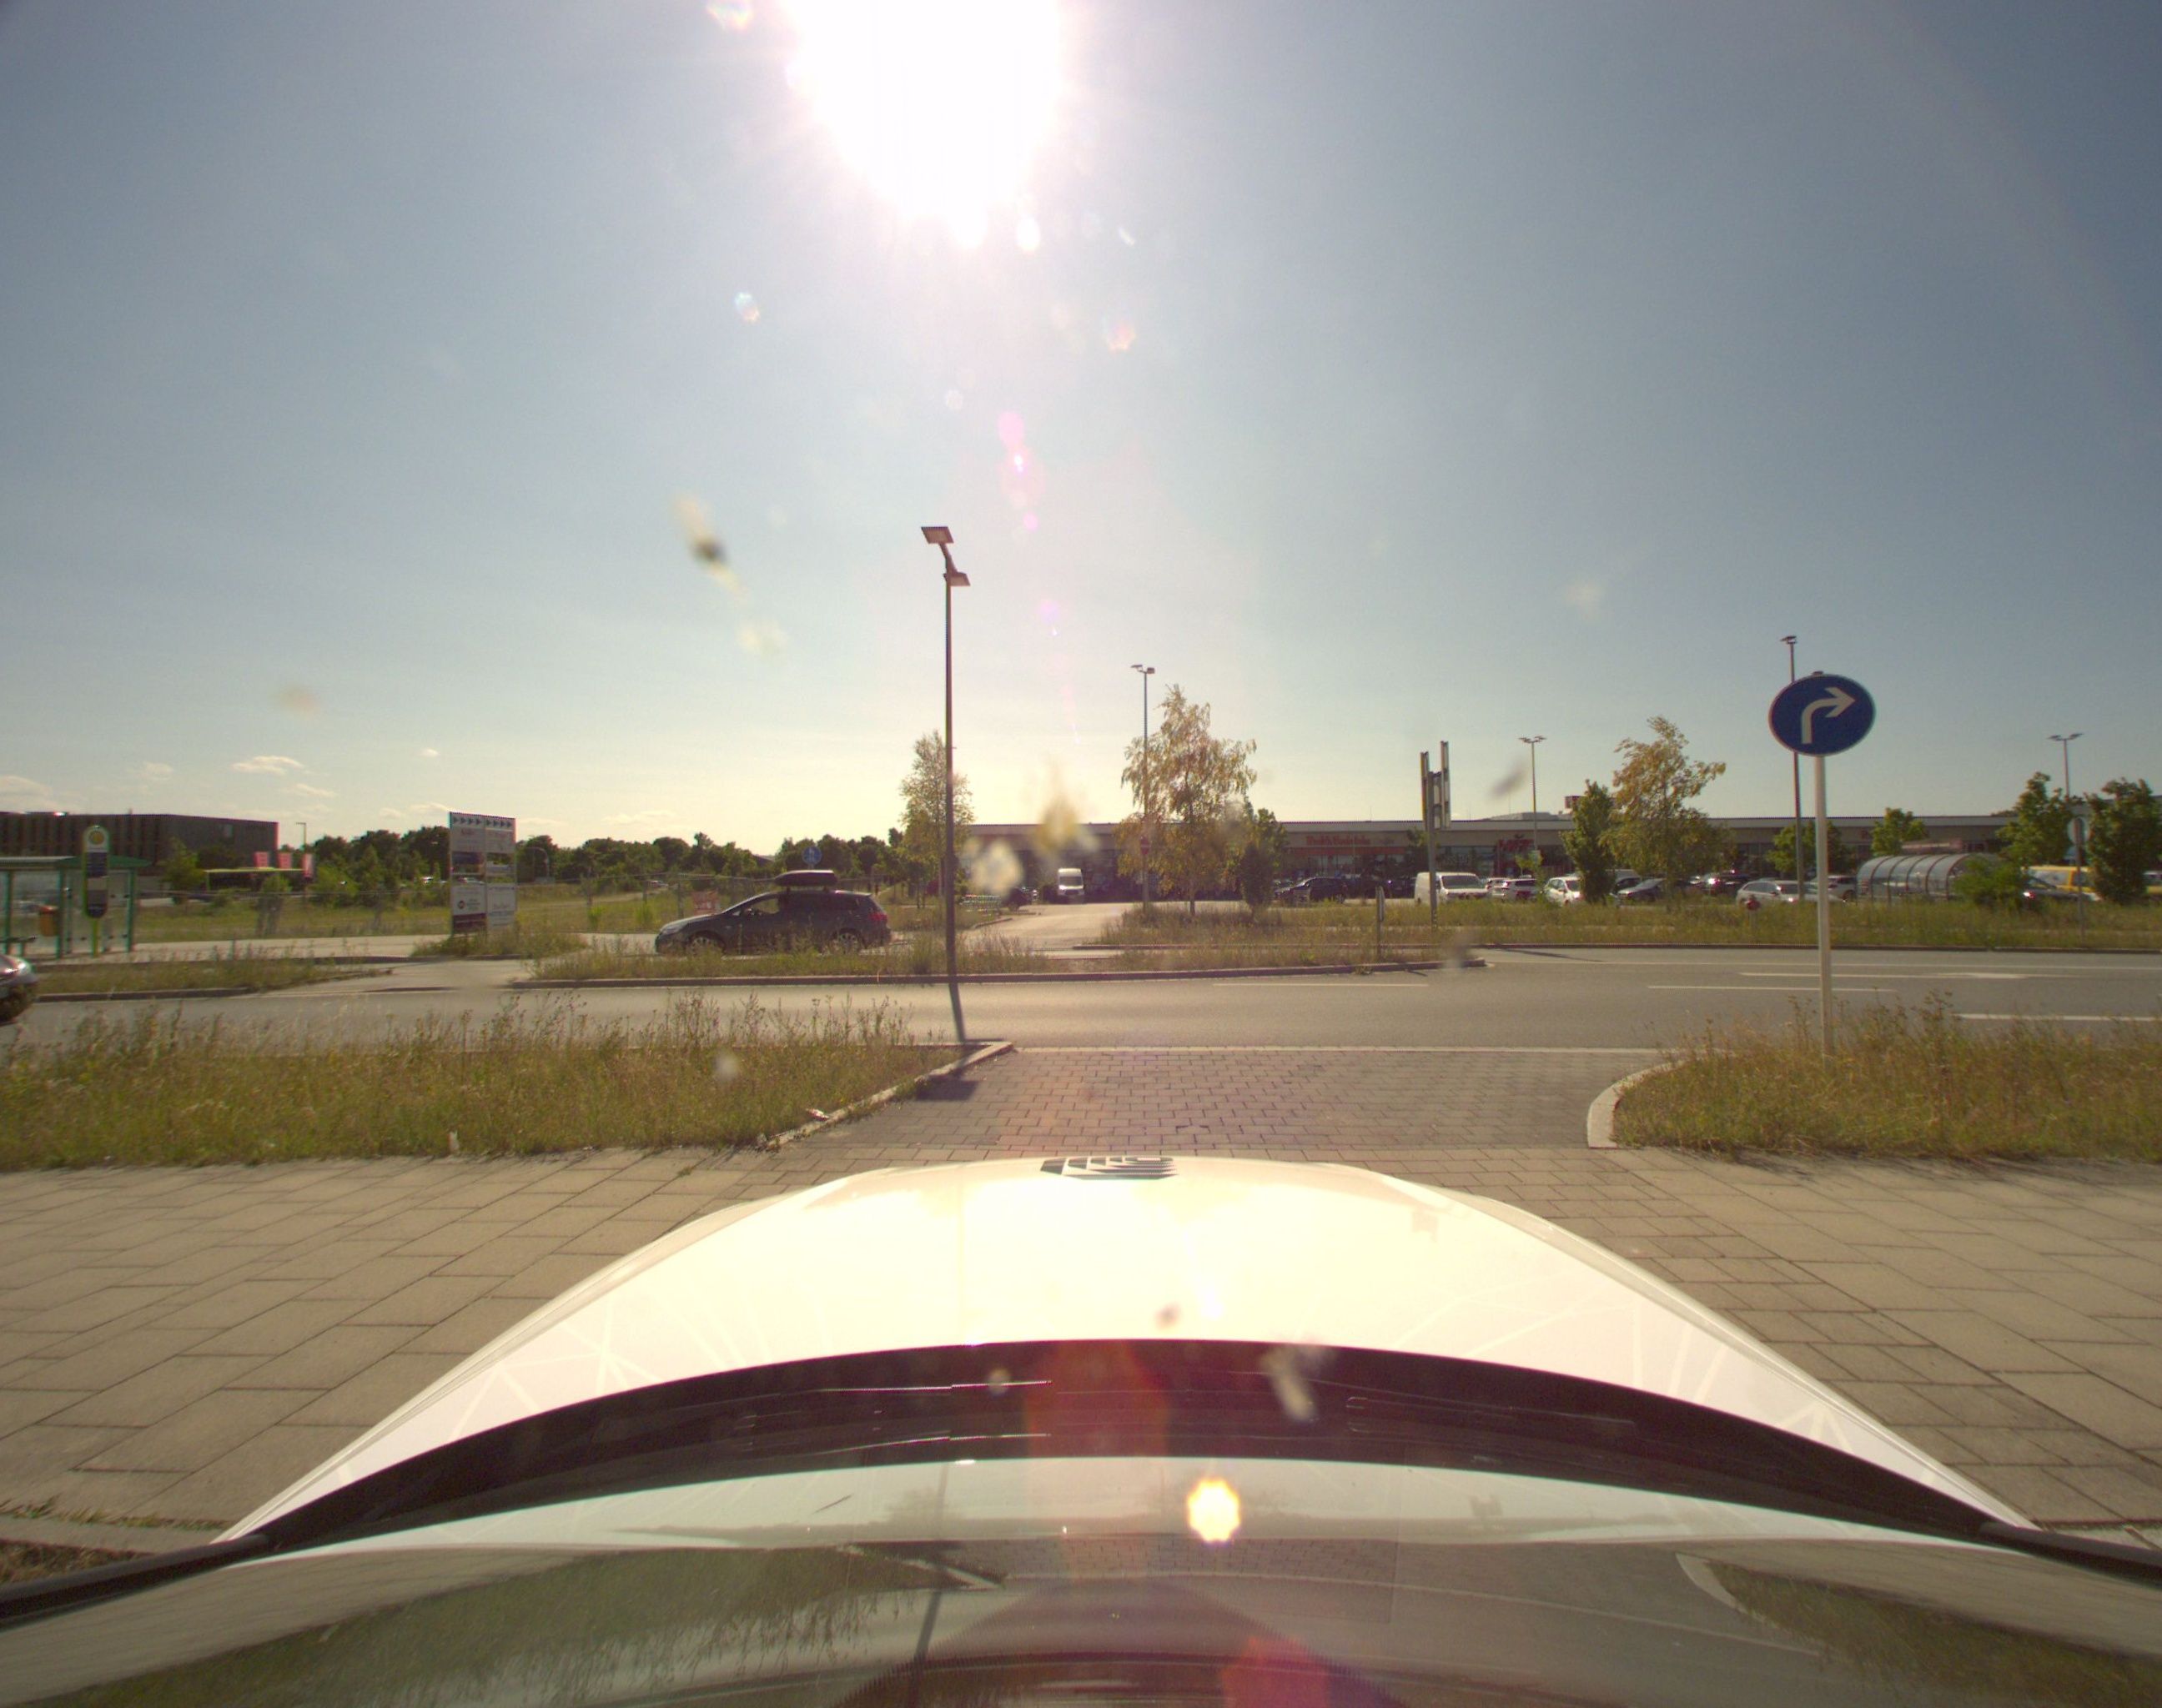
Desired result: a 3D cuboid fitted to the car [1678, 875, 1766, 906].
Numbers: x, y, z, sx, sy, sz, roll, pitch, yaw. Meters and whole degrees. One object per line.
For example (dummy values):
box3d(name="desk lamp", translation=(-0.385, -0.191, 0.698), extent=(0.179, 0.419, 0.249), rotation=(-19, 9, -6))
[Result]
box3d(name="car", translation=(44.463, 2.531, 56.549), extent=(4.450, 2.123, 2.002), rotation=(0, -3, 3))

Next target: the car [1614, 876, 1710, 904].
box3d(name="car", translation=(32.158, 1.992, 45.176), extent=(3.973, 1.508, 1.875), rotation=(0, -2, 1))

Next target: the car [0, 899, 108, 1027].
box3d(name="car", translation=(-15.281, 1.389, 10.131), extent=(3.819, 1.550, 1.999), rotation=(-1, -2, -1))

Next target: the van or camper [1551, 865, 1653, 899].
box3d(name="van or camper", translation=(32.327, 1.735, 50.615), extent=(5.016, 2.014, 2.000), rotation=(-1, -2, 1))

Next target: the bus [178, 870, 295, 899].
box3d(name="bus", translation=(-83.410, 2.970, 80.845), extent=(2.577, 2.735, 11.503), rotation=(0, -2, -16))

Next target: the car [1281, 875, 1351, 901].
box3d(name="car", translation=(14.315, 2.058, 49.777), extent=(3.781, 1.509, 1.731), rotation=(-1, -2, 0))

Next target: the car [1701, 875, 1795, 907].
box3d(name="car", translation=(44.033, 2.431, 53.833), extent=(4.450, 2.103, 2.002), rotation=(0, -3, 3))

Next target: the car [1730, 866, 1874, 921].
box3d(name="car", translation=(28.695, 1.531, 32.691), extent=(2.142, 2.014, 5.134), rotation=(-1, -2, 14))

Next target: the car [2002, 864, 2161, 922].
box3d(name="car", translation=(38.172, 1.421, 30.683), extent=(2.141, 2.014, 5.137), rotation=(-1, -2, 16))

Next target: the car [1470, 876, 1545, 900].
box3d(name="car", translation=(26.226, 2.075, 50.094), extent=(3.712, 1.391, 1.729), rotation=(-1, -2, -4))

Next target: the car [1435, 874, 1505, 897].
box3d(name="car", translation=(25.297, 2.044, 52.993), extent=(3.712, 1.391, 1.729), rotation=(-1, -2, -4))

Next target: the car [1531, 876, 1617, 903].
box3d(name="car", translation=(26.867, 1.900, 44.441), extent=(3.712, 1.391, 1.729), rotation=(-1, -2, -4))

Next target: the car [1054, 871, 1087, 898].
box3d(name="car", translation=(-0.894, 2.379, 63.346), extent=(2.218, 1.977, 6.685), rotation=(-1, -2, -4))

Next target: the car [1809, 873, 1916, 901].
box3d(name="car", translation=(43.845, 1.836, 45.737), extent=(4.320, 1.520, 1.655), rotation=(0, -2, 1))

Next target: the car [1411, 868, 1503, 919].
box3d(name="car", translation=(15.904, 1.650, 34.760), extent=(2.069, 2.014, 5.239), rotation=(-1, -2, 8))

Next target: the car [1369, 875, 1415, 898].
box3d(name="car", translation=(24.110, 2.517, 63.331), extent=(1.988, 1.707, 3.997), rotation=(-1, -2, -1))

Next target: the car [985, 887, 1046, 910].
box3d(name="car", translation=(-4.127, 2.811, 51.571), extent=(3.825, 1.423, 1.769), rotation=(0, -2, -4))

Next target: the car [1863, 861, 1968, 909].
box3d(name="car", translation=(50.061, 1.851, 48.894), extent=(4.465, 2.822, 1.995), rotation=(0, -3, -7))

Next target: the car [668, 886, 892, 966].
box3d(name="car", translation=(-6.295, 1.438, 17.220), extent=(4.201, 1.517, 1.984), rotation=(1, -3, -24))

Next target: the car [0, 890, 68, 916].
box3d(name="car", translation=(-78.521, 3.646, 60.596), extent=(1.824, 1.860, 3.981), rotation=(0, -2, -13))

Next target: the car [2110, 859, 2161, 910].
box3d(name="car", translation=(61.867, 1.705, 46.173), extent=(4.456, 2.822, 1.999), rotation=(0, -3, -1))

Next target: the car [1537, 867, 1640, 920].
box3d(name="car", translation=(21.052, 1.611, 34.080), extent=(2.142, 2.014, 5.134), rotation=(-1, -2, 14))

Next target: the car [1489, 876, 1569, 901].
box3d(name="car", translation=(25.865, 1.971, 47.065), extent=(3.712, 1.391, 1.729), rotation=(-1, -2, -4))

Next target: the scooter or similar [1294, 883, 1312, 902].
box3d(name="scooter or similar", translation=(13.110, 2.250, 48.092), extent=(0.939, 1.079, 0.653), rotation=(-1, -2, 4))
